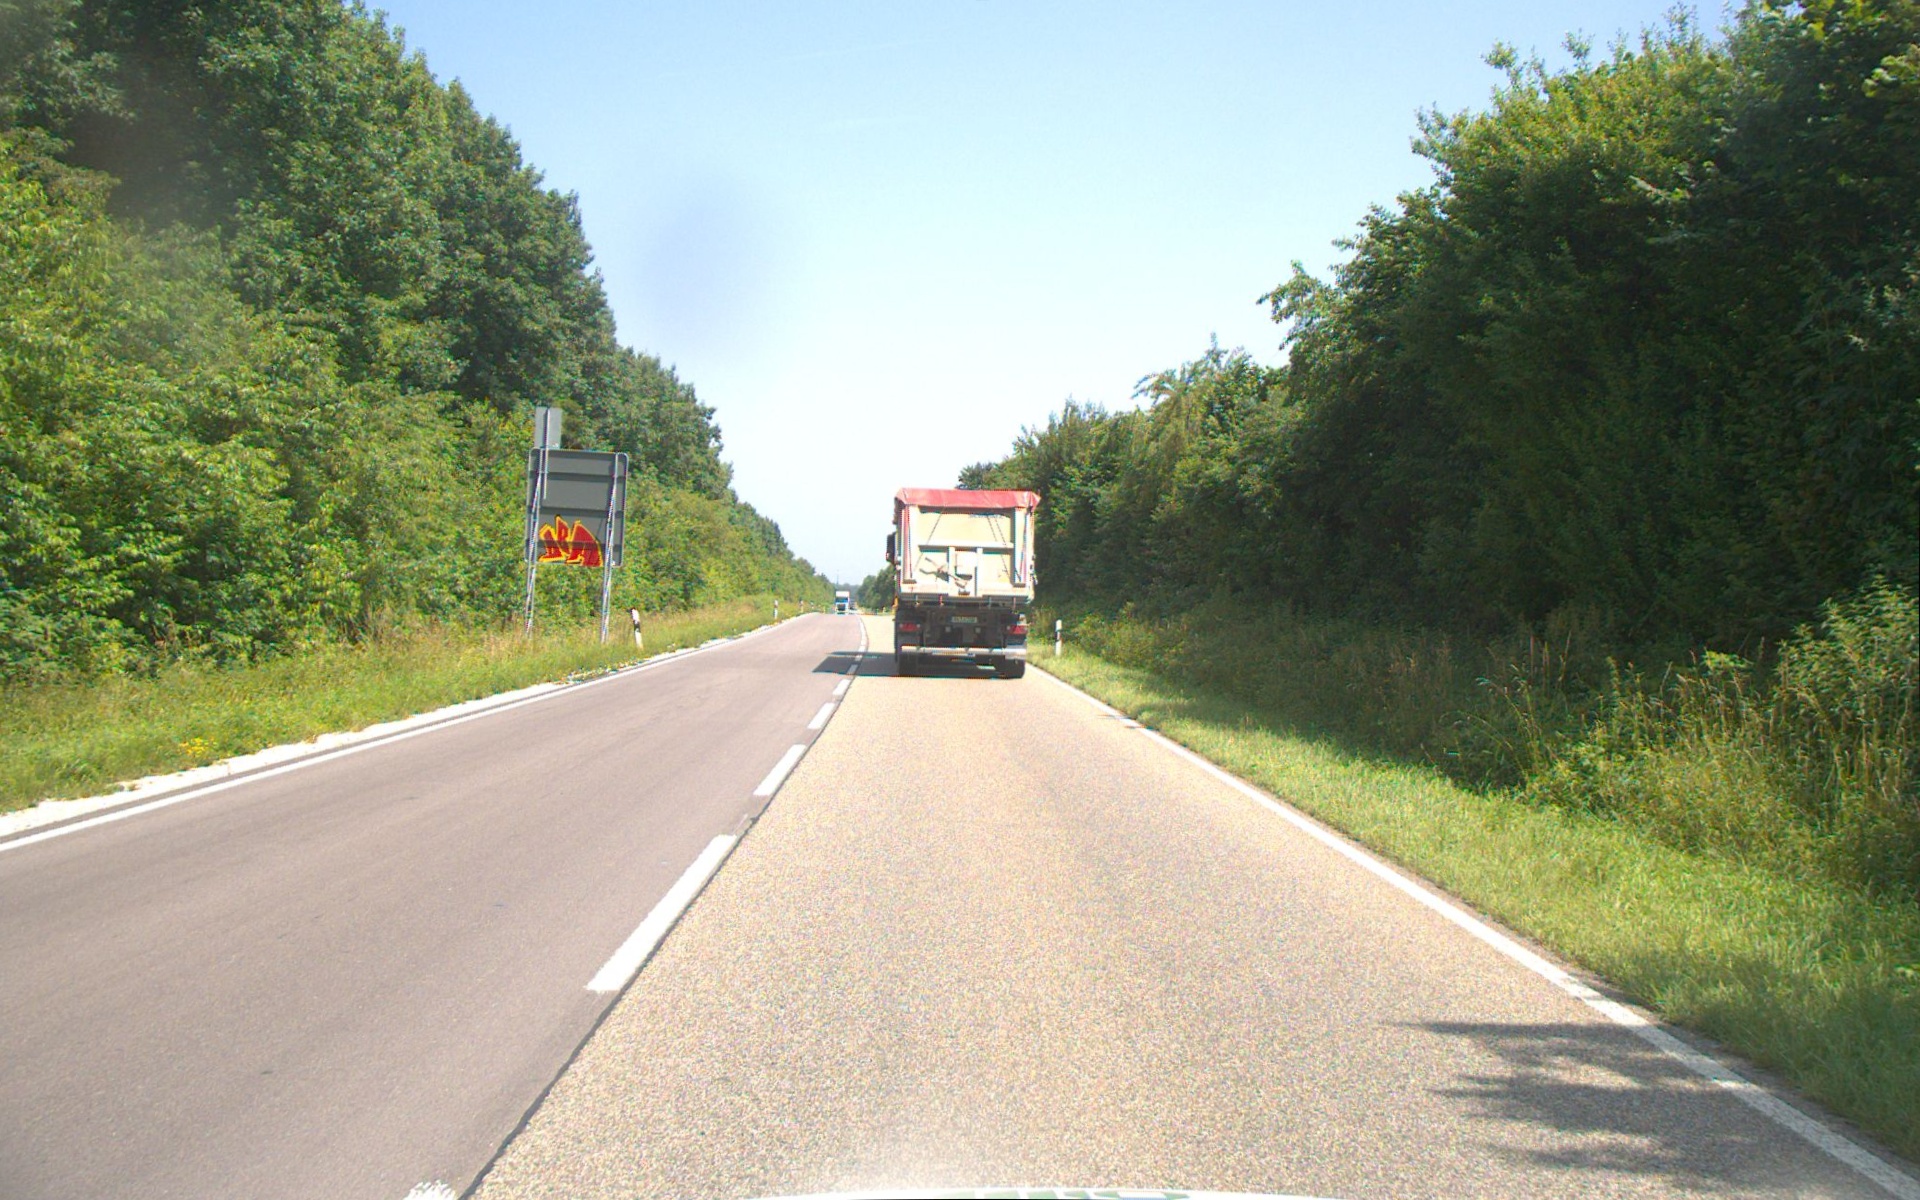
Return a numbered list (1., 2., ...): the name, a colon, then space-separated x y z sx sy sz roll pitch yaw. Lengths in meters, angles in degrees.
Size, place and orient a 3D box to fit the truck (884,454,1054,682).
1. truck: -0.109 -0.601 35.449 2.836 4.031 11.924 1 0 -3
